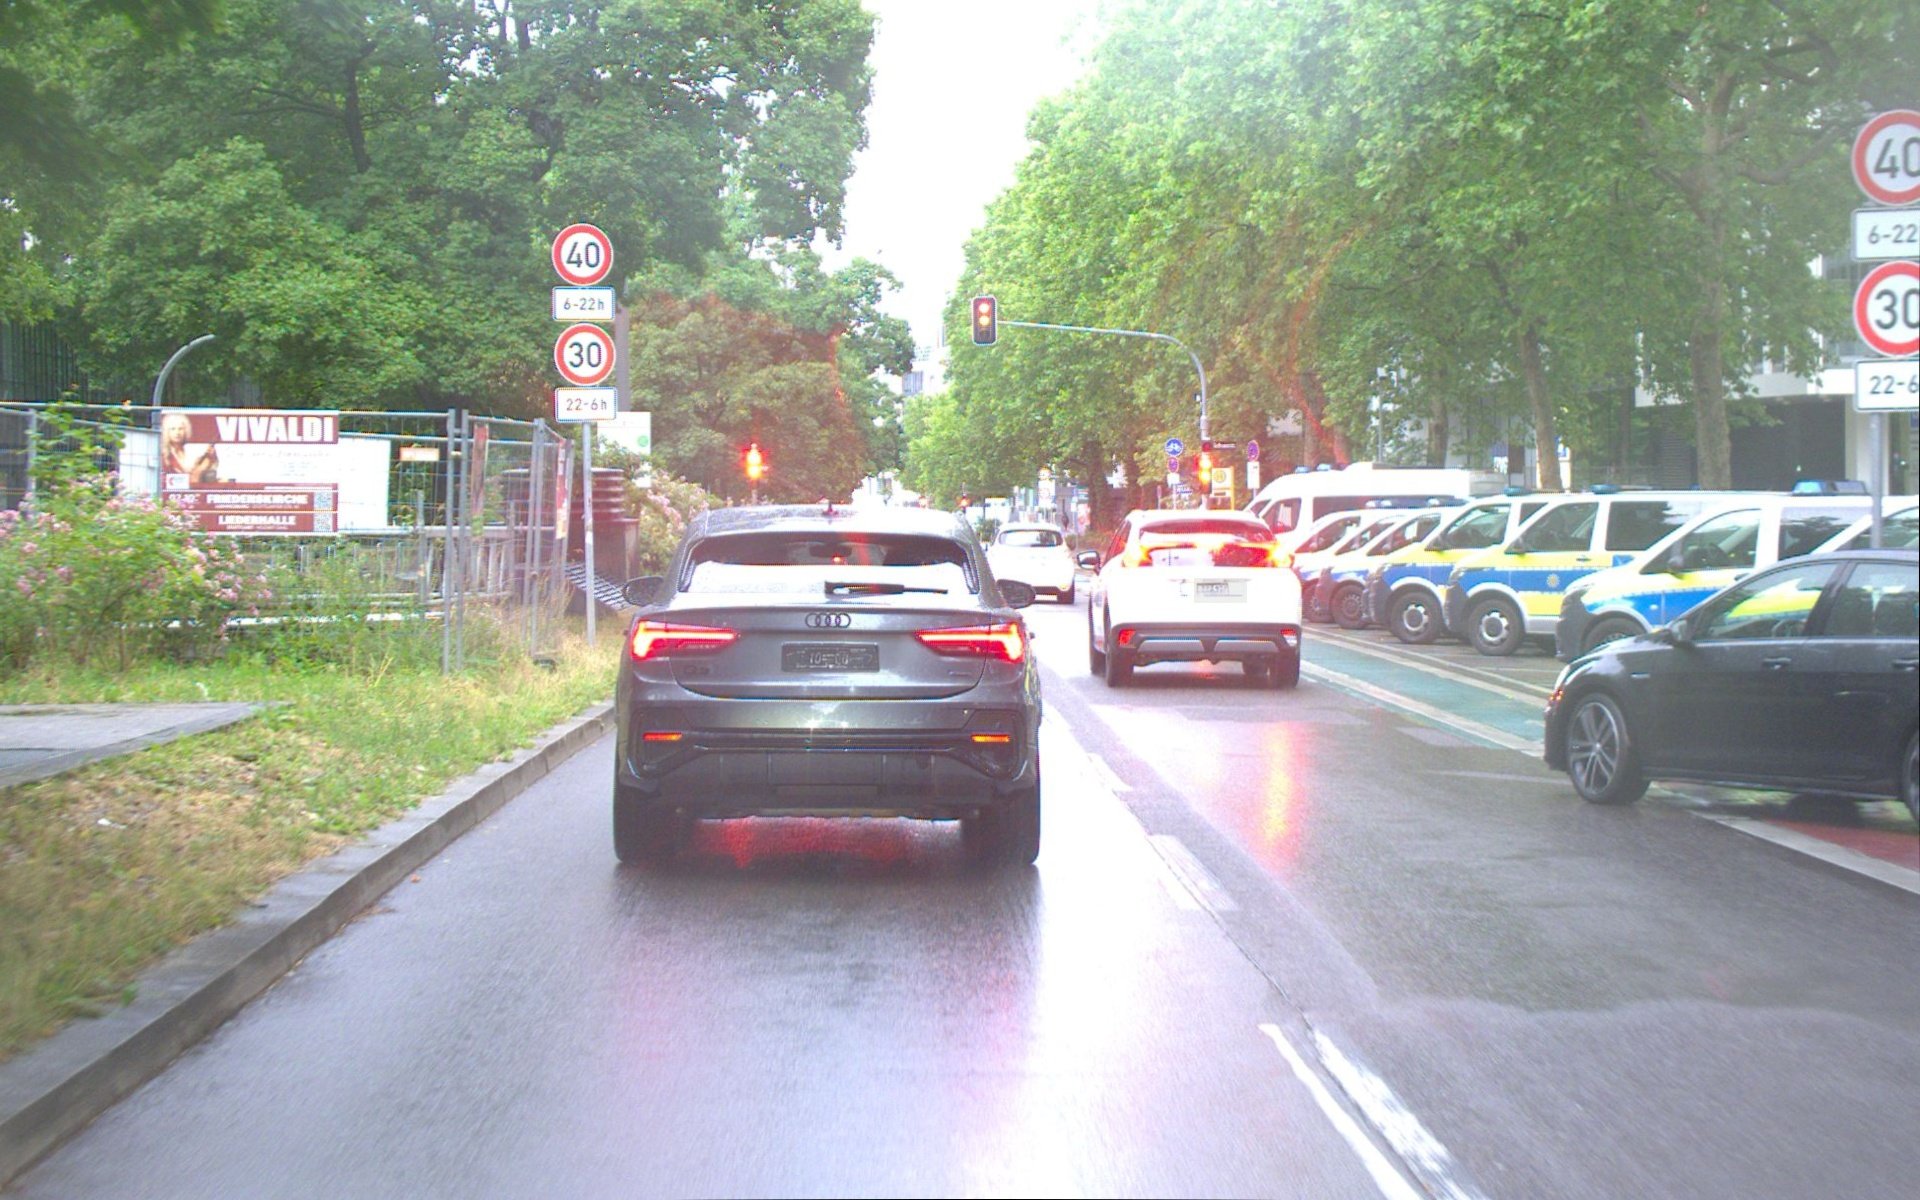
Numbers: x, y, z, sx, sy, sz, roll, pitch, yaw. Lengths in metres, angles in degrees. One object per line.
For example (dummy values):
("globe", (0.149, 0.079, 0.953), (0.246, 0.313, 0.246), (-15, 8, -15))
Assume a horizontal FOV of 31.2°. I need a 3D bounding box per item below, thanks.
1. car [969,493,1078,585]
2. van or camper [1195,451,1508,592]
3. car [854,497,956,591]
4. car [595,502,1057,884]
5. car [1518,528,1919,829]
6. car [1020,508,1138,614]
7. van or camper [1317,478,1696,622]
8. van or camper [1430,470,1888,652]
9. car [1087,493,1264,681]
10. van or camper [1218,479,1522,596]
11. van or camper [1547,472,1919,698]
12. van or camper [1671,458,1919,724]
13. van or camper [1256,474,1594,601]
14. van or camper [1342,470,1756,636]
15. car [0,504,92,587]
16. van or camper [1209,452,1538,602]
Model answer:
("car", (1.217, -1.220, 67.641), (1.993, 1.744, 4.001), (0, 2, -1))
("van or camper", (7.634, -1.555, 67.443), (5.809, 2.668, 2.143), (1, 2, 37))
("car", (-0.971, -1.006, 60.103), (1.721, 1.572, 3.962), (0, 2, -1))
("car", (-0.535, 0.312, 16.131), (1.863, 1.527, 4.527), (0, 2, 0))
("car", (4.859, 0.351, 17.749), (1.765, 1.408, 4.000), (-2, 2, -30))
("car", (2.014, -0.702, 59.061), (1.822, 1.744, 4.001), (0, 2, -1))
("van or camper", (7.988, -0.767, 50.507), (5.102, 2.018, 2.102), (1, 2, 37))
("van or camper", (8.033, -0.484, 39.734), (4.849, 1.991, 1.864), (1, 2, 36))
("car", (2.001, -0.165, 32.530), (1.433, 1.679, 2.979), (-1, 2, -1))
("van or camper", (7.270, -1.088, 61.149), (5.010, 2.007, 1.996), (1, 0, 35))
("van or camper", (8.371, -0.162, 32.730), (5.082, 2.012, 1.993), (2, 2, 36))
("van or camper", (8.148, -0.060, 26.204), (4.942, 1.985, 1.998), (2, 2, 37))
("van or camper", (7.728, -1.057, 57.314), (5.202, 1.985, 1.996), (2, 1, 34))
("van or camper", (7.454, -0.626, 43.708), (4.789, 2.004, 1.996), (1, 1, 35))
("car", (-17.909, -1.052, 65.081), (1.993, 1.504, 4.519), (-1, 2, -3))
("van or camper", (7.656, -1.365, 63.983), (5.804, 2.671, 1.996), (1, 2, 35))
